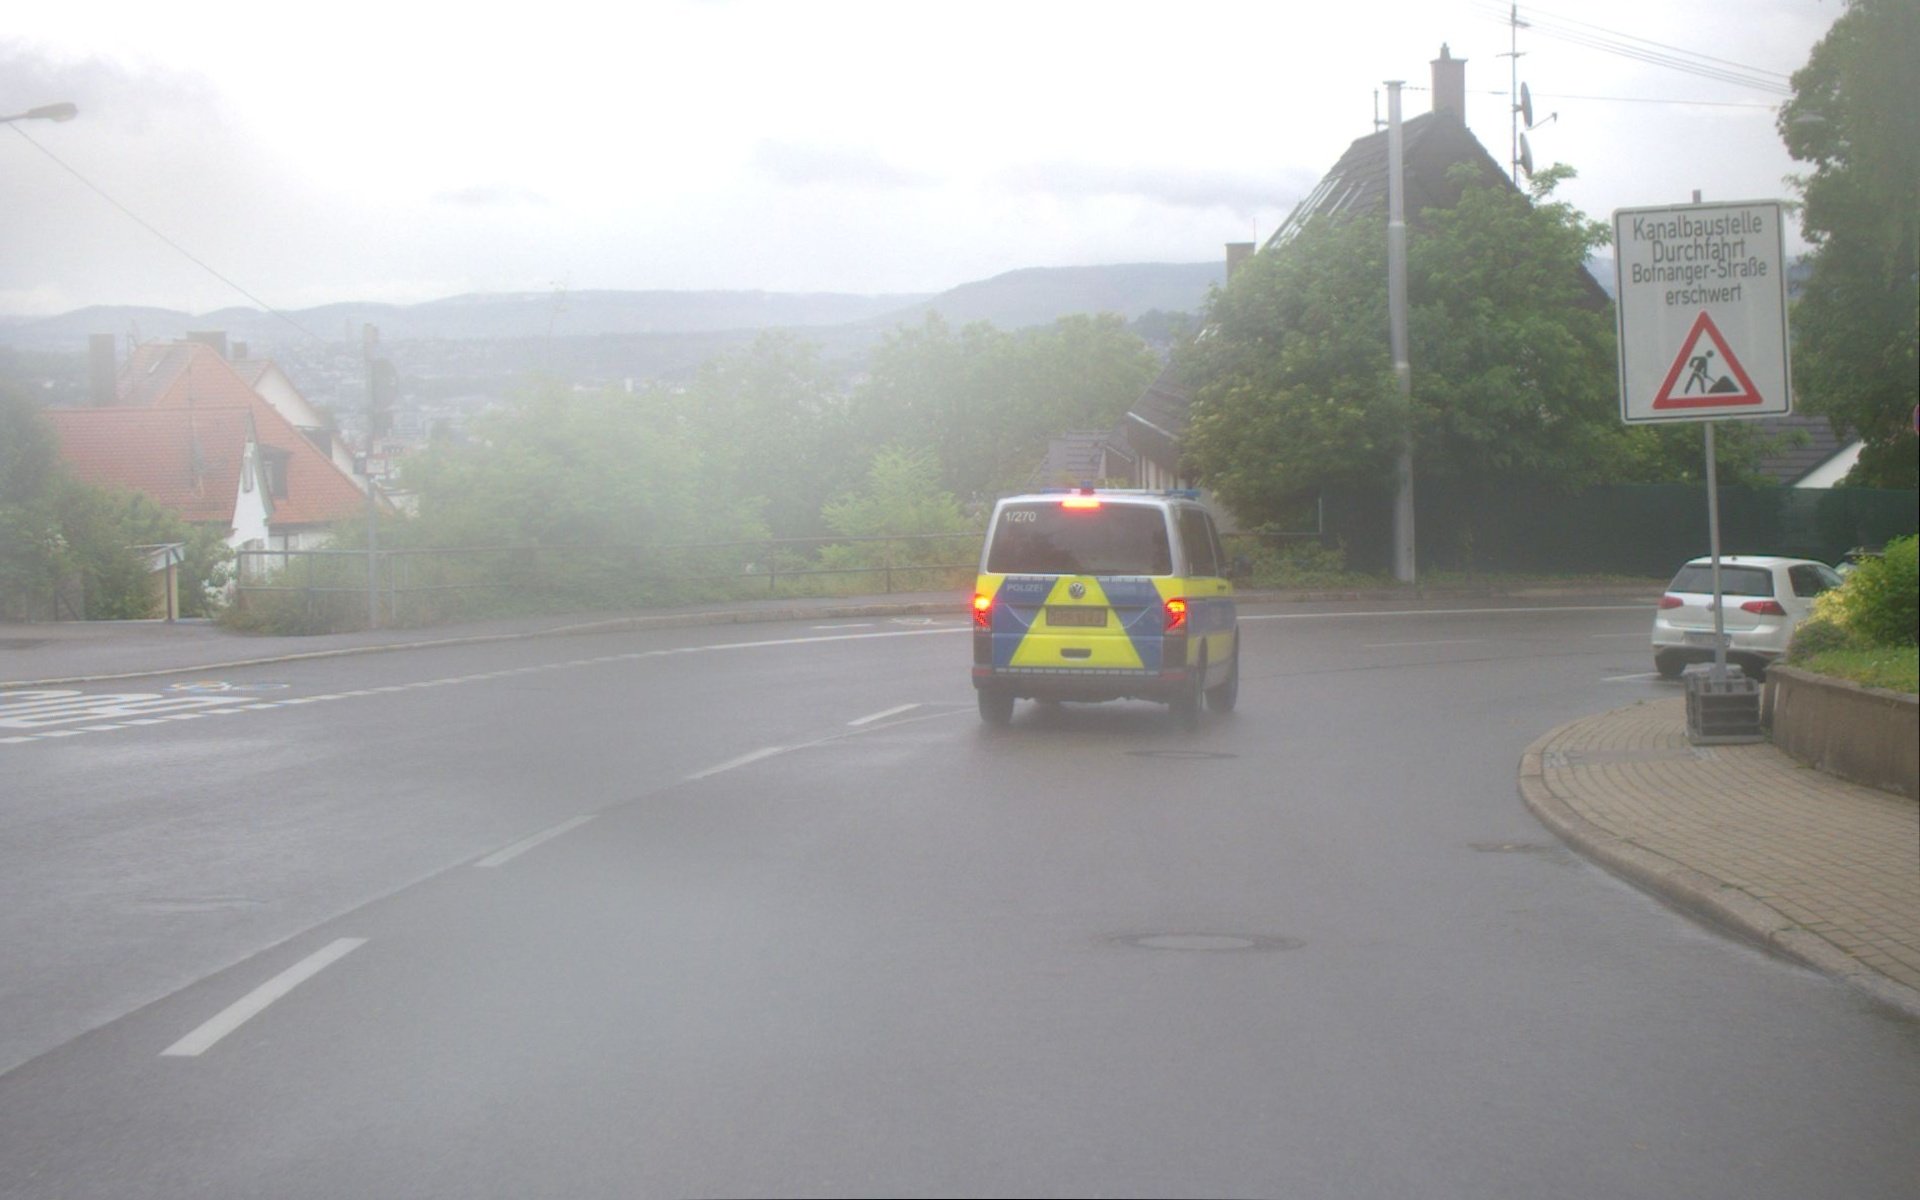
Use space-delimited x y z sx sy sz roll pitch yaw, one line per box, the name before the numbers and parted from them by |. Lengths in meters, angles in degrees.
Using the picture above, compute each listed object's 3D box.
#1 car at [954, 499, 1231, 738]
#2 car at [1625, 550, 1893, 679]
car | 1.237 0.107 29.946 1.994 1.887 4.569 1 1 7
car | 9.681 0.146 41.466 1.793 1.441 4.098 2 1 34
